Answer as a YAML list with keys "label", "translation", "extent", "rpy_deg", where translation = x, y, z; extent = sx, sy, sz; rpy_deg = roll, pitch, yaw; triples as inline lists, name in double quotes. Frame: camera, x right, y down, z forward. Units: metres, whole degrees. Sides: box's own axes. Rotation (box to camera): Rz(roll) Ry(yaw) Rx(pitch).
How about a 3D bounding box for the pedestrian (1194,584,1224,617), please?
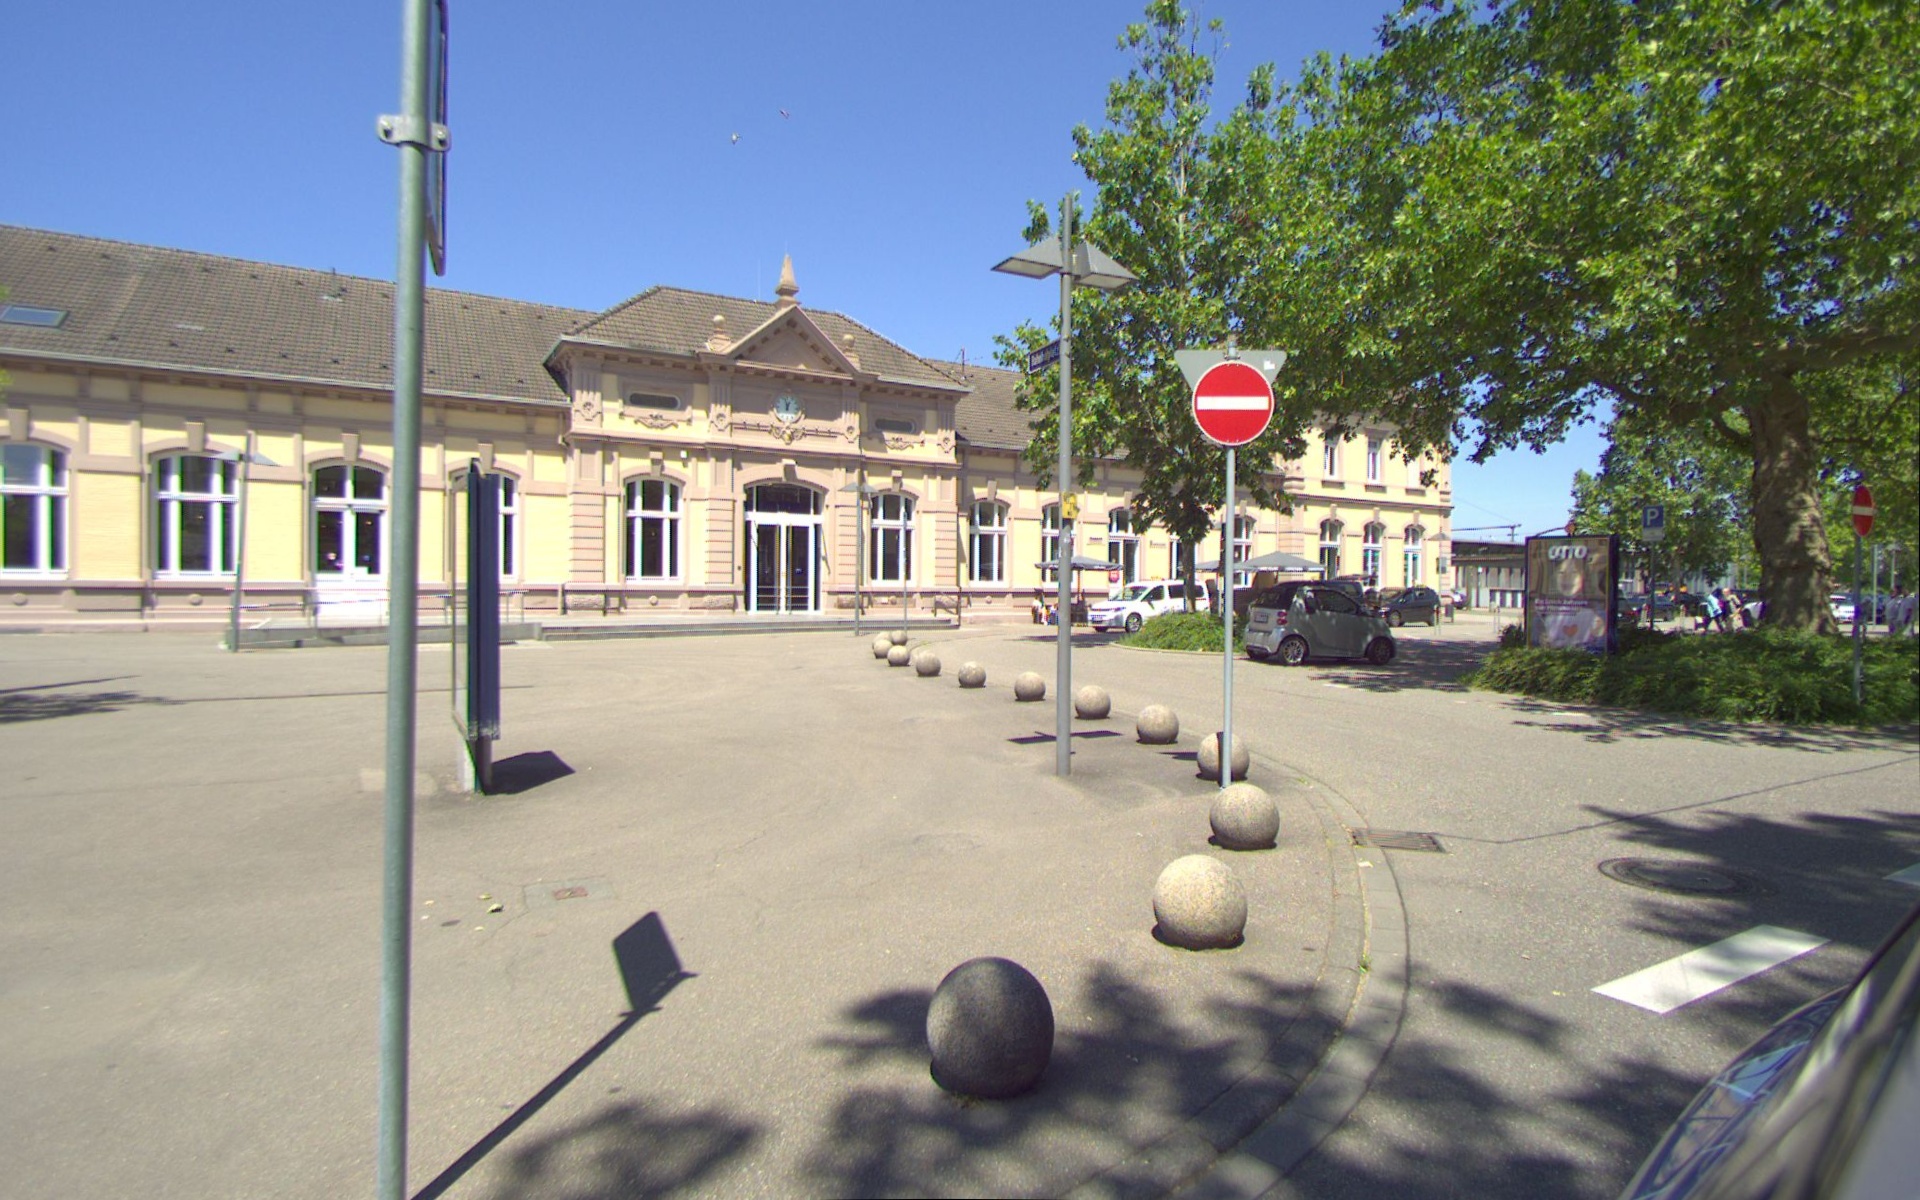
- label: "pedestrian"
  translation: [10.709, 0.014, 43.571]
  extent: [0.835, 1.388, 0.882]
  rpy_deg: [0, 2, -35]

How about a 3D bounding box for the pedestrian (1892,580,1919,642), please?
- label: "pedestrian"
  translation: [27.938, 0.309, 29.676]
  extent: [0.835, 1.792, 0.840]
  rpy_deg: [1, 1, 39]

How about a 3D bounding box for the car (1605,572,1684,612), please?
- label: "car"
  translation: [36.091, -0.393, 53.319]
  extent: [4.516, 2.015, 2.003]
  rpy_deg: [0, -1, -36]

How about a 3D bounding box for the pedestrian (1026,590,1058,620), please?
- label: "pedestrian"
  translation: [3.151, 0.184, 38.736]
  extent: [0.835, 1.093, 0.882]
  rpy_deg: [0, 2, -35]

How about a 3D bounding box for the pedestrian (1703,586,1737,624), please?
- label: "pedestrian"
  translation: [29.158, 0.198, 38.825]
  extent: [0.788, 1.442, 0.689]
  rpy_deg: [1, 0, 11]

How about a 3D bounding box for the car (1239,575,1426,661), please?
- label: "car"
  translation: [7.289, 0.323, 19.940]
  extent: [3.043, 1.613, 1.604]
  rpy_deg: [0, 1, -8]

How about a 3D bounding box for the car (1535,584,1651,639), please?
- label: "car"
  translation: [20.535, 0.311, 33.045]
  extent: [1.773, 1.562, 4.514]
  rpy_deg: [-1, 2, 13]

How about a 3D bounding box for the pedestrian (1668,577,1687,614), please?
- label: "pedestrian"
  translation: [38.595, -0.239, 54.418]
  extent: [0.605, 2.015, 0.628]
  rpy_deg: [0, -1, -36]

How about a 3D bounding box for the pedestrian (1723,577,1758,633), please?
- label: "pedestrian"
  translation: [22.264, 0.135, 28.865]
  extent: [0.599, 1.567, 0.590]
  rpy_deg: [0, 1, -33]

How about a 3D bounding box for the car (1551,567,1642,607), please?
- label: "car"
  translation: [31.367, -0.605, 49.833]
  extent: [5.218, 1.864, 2.003]
  rpy_deg: [0, -1, -36]

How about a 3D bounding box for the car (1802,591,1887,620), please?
- label: "car"
  translation: [47.336, 0.268, 54.249]
  extent: [1.774, 1.420, 3.504]
  rpy_deg: [1, 1, 9]

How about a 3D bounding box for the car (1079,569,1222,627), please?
- label: "car"
  translation: [6.651, -0.033, 35.157]
  extent: [5.039, 1.889, 1.816]
  rpy_deg: [1, -1, -33]

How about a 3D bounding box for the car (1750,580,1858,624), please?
- label: "car"
  translation: [34.462, 0.052, 41.483]
  extent: [1.774, 1.624, 4.048]
  rpy_deg: [-1, 2, 14]

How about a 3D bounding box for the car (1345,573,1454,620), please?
- label: "car"
  translation: [18.465, -0.100, 42.425]
  extent: [4.749, 1.864, 2.080]
  rpy_deg: [1, -1, -36]

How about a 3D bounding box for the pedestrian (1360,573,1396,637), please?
- label: "pedestrian"
  translation: [11.491, 0.134, 27.863]
  extent: [0.762, 1.739, 0.812]
  rpy_deg: [0, 0, 12]

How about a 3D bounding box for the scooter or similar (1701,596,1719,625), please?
- label: "scooter or similar"
  translation: [29.219, 0.397, 39.421]
  extent: [0.431, 1.115, 0.402]
  rpy_deg: [1, 0, 10]

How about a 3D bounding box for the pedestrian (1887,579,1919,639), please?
- label: "pedestrian"
  translation: [28.555, 0.265, 30.505]
  extent: [0.835, 1.792, 0.839]
  rpy_deg: [1, 1, 40]

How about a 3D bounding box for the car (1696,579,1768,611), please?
- label: "car"
  translation: [47.282, -0.323, 61.971]
  extent: [4.163, 1.812, 2.001]
  rpy_deg: [-1, -1, -30]

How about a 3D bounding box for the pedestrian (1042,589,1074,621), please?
- label: "pedestrian"
  translation: [3.673, 0.178, 37.951]
  extent: [0.835, 1.176, 0.882]
  rpy_deg: [0, 2, -35]

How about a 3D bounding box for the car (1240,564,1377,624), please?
- label: "car"
  translation: [13.403, -0.180, 38.716]
  extent: [5.716, 2.151, 2.093]
  rpy_deg: [1, -1, -36]
